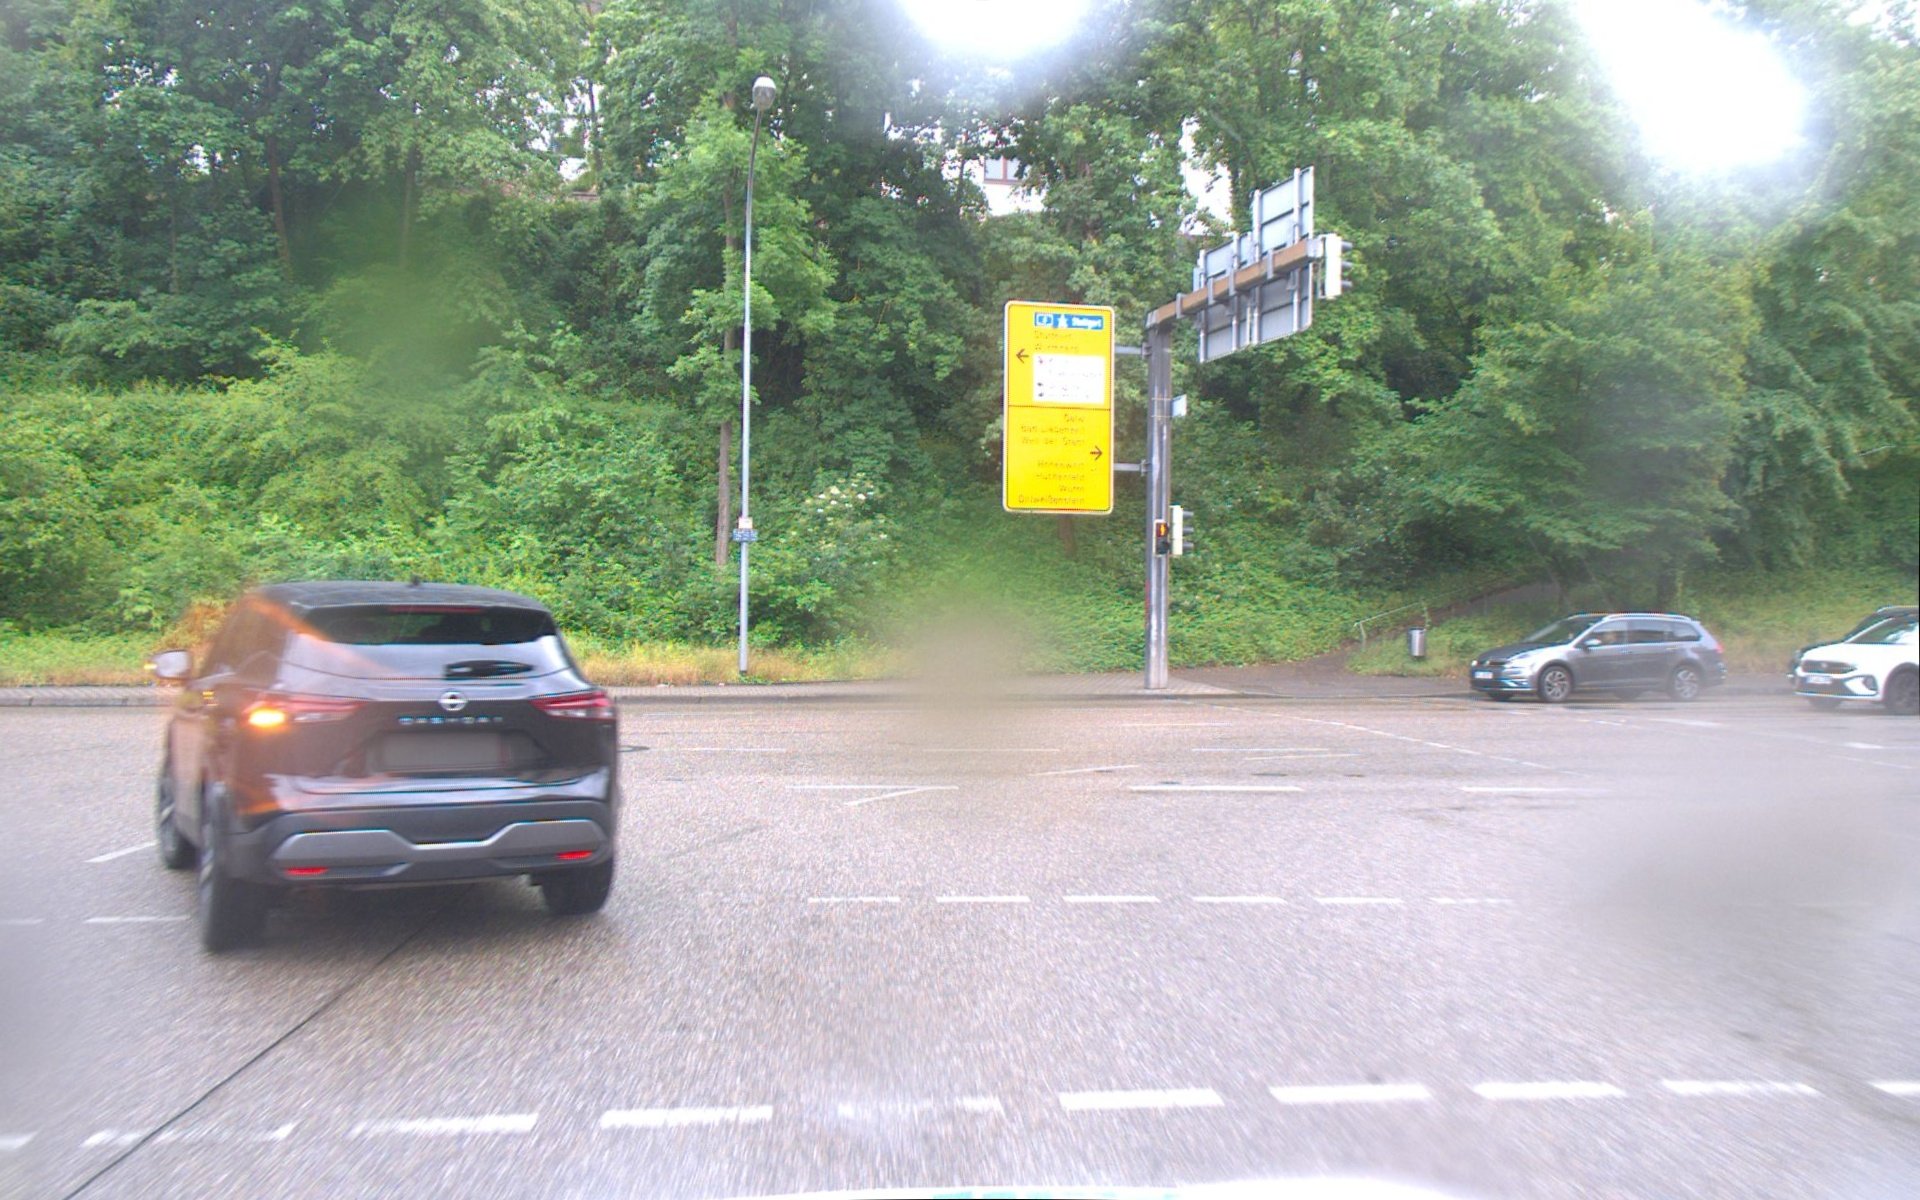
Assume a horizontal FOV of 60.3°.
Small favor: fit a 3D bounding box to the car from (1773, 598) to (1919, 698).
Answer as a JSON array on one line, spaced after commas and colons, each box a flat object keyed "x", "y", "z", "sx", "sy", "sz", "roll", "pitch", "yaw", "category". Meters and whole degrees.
[{"x": 17.357, "y": 0.837, "z": 30.054, "sx": 4.532, "sy": 1.726, "sz": 1.821, "roll": 0, "pitch": 0, "yaw": -13, "category": "car"}]

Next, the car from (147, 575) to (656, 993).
[{"x": -3.111, "y": 0.728, "z": 8.641, "sx": 1.792, "sy": 1.631, "sz": 3.959, "roll": 0, "pitch": 0, "yaw": -30, "category": "car"}]

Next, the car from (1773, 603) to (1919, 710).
[{"x": 15.070, "y": 0.851, "z": 25.907, "sx": 4.074, "sy": 1.589, "sz": 1.802, "roll": 0, "pitch": 0, "yaw": -16, "category": "car"}]

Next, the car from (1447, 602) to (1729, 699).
[{"x": 10.819, "y": 0.834, "z": 28.582, "sx": 4.250, "sy": 1.528, "sz": 1.877, "roll": -1, "pitch": 0, "yaw": -13, "category": "car"}]
